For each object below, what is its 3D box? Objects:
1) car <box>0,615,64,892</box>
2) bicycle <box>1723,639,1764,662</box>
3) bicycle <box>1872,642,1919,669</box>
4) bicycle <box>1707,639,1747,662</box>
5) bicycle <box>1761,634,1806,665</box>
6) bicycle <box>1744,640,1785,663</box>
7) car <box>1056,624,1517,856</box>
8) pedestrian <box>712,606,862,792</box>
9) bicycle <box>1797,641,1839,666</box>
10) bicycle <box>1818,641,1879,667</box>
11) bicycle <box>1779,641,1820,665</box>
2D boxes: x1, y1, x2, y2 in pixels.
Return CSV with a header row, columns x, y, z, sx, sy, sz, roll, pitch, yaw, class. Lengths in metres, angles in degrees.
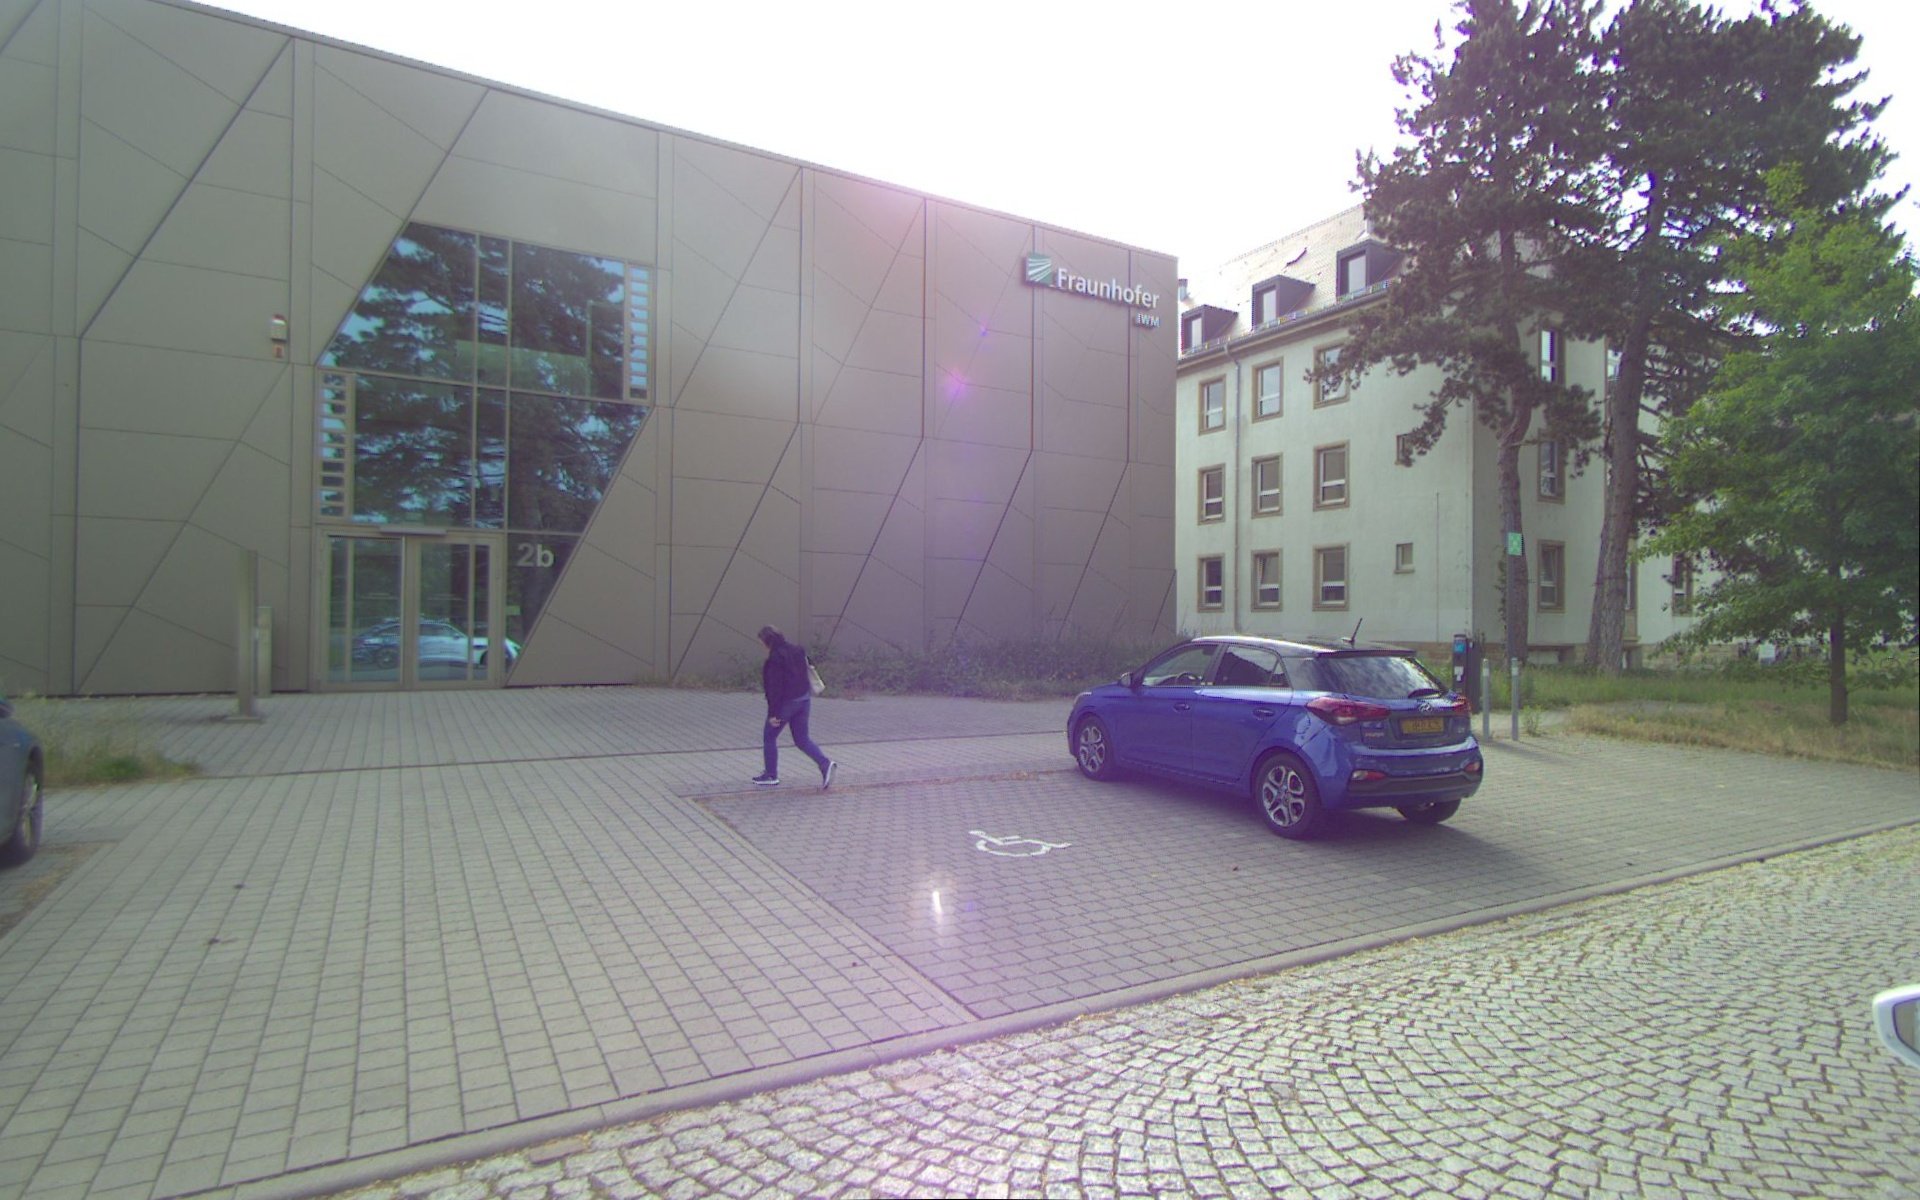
x,y,z,sx,sy,sz,roll,pitch,yaw,class
-5.483,0.825,4.300,1.755,1.447,4.280,1,0,-32,car
37.308,2.402,47.817,2.246,1.090,0.732,1,-2,-30,bicycle
39.359,2.304,41.845,0.821,1.090,1.849,1,-2,-27,bicycle
37.016,2.414,48.492,2.246,1.090,0.732,1,-2,-30,bicycle
38.333,2.279,46.748,2.679,1.404,0.732,1,-2,-30,bicycle
38.039,2.428,47.500,2.246,1.090,0.732,1,-2,-30,bicycle
2.634,1.020,9.002,1.828,1.497,3.752,1,0,-27,car
-1.526,0.840,8.936,0.967,1.514,0.818,2,-1,22,pedestrian
38.765,2.391,45.398,2.246,1.090,0.732,1,-2,-30,bicycle
38.417,2.327,43.473,0.729,1.090,1.849,1,-2,-27,bicycle
38.387,2.407,45.918,2.246,1.090,0.732,1,-2,-30,bicycle
